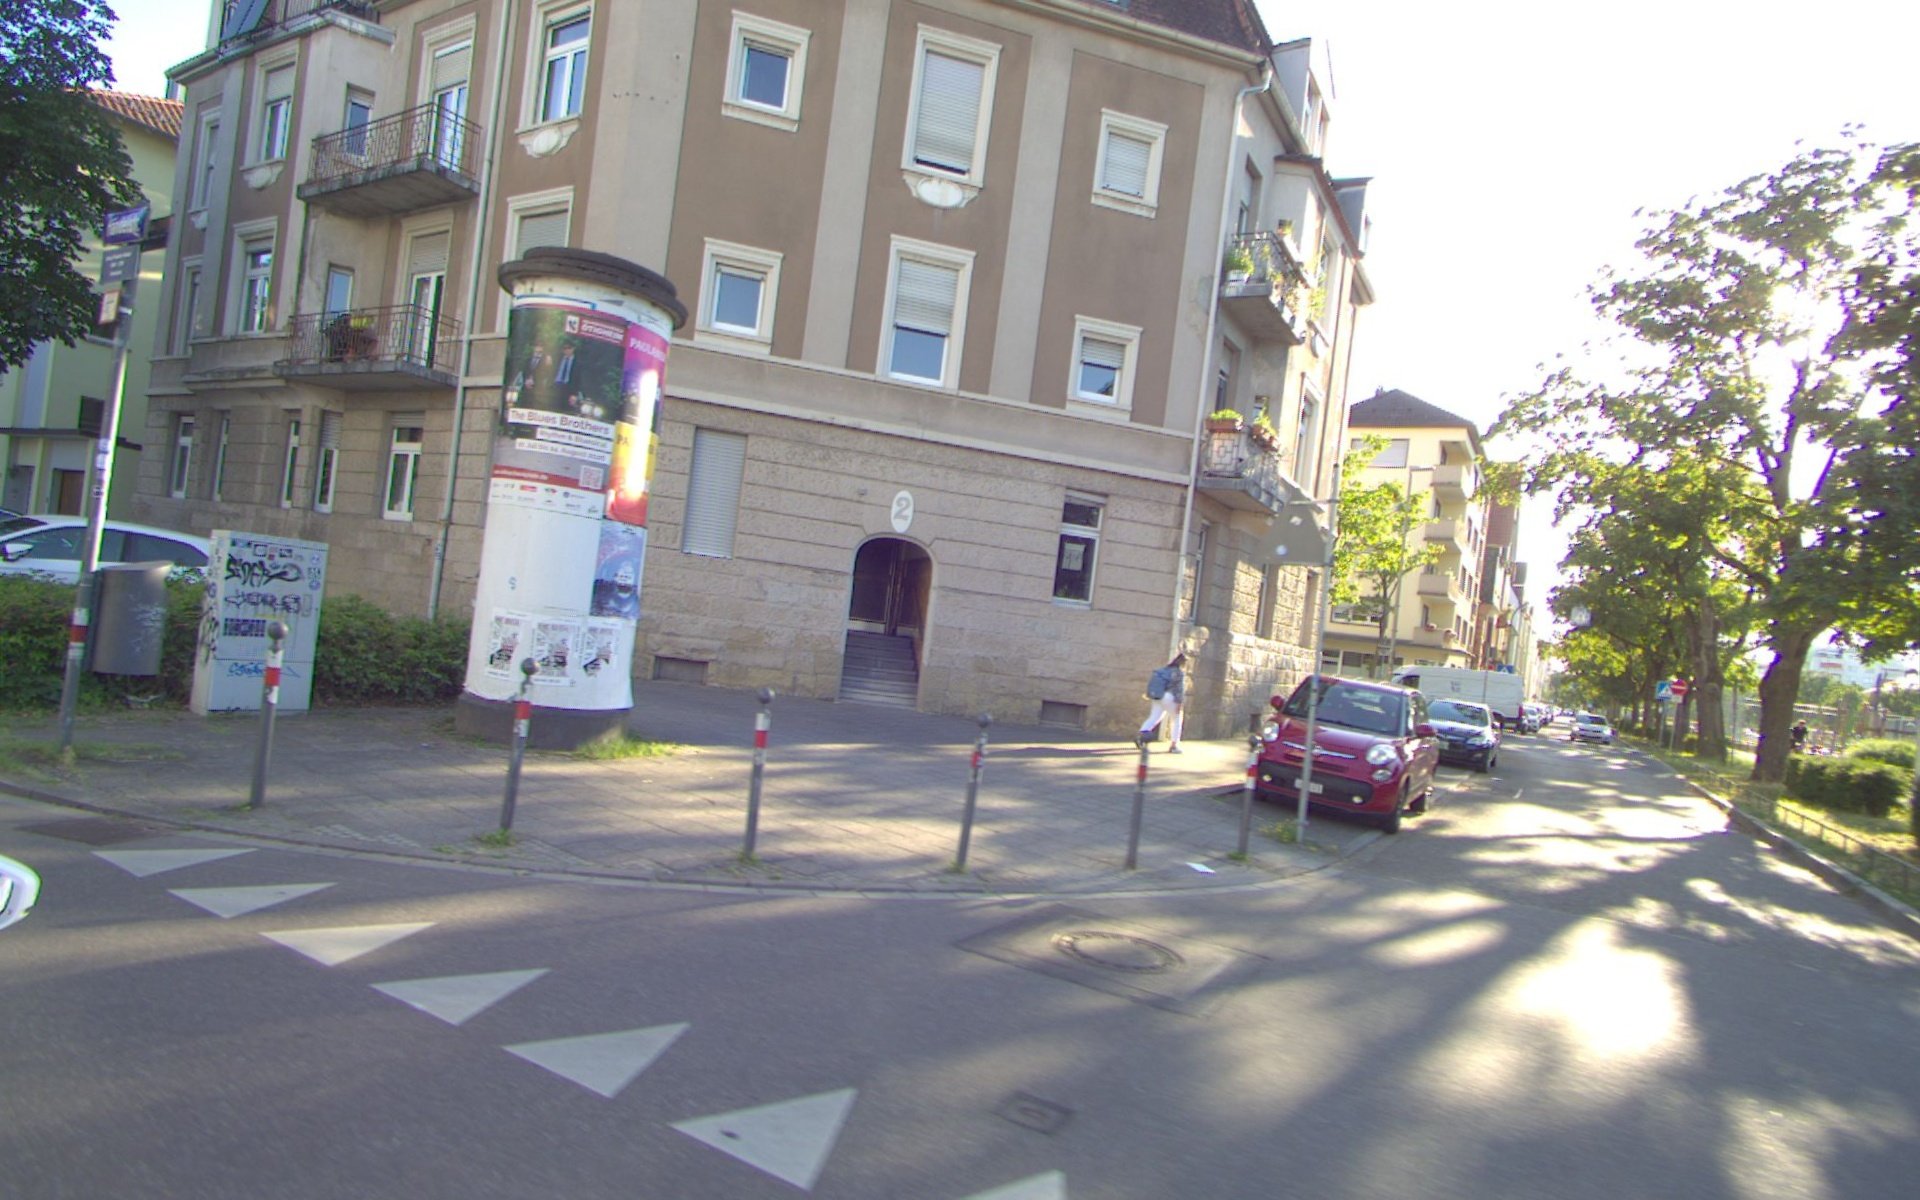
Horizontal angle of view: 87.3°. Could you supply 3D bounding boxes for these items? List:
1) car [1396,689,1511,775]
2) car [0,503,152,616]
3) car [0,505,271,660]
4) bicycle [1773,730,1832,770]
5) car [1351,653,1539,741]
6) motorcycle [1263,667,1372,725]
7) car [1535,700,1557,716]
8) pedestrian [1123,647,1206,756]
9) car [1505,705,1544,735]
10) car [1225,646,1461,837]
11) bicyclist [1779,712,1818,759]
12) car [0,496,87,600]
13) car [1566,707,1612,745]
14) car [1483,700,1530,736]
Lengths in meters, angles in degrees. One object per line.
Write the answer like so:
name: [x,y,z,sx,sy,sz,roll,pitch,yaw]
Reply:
car: [11.559,3.037,23.440,1.782,1.551,4.080,7,-1,33]
car: [-14.131,-0.706,13.967,1.645,1.465,4.149,6,-1,31]
car: [-10.464,-0.258,11.261,1.831,1.523,4.055,6,-1,31]
bicycle: [32.736,5.804,39.131,0.872,1.235,3.108,7,-2,25]
car: [20.515,4.077,42.780,6.563,2.777,2.320,7,-1,3]
motorcycle: [11.624,3.112,32.770,3.171,1.504,0.854,5,-2,21]
car: [69.949,12.883,120.051,1.802,1.534,3.745,6,-2,35]
pedestrian: [3.153,1.568,15.547,0.815,1.564,0.734,7,0,-40]
car: [34.597,7.351,61.603,1.800,1.534,3.749,6,-2,32]
car: [4.999,1.707,12.752,1.782,1.761,4.080,9,-1,33]
bicyclist: [33.022,5.324,39.634,0.846,1.667,0.864,7,-1,26]
car: [-16.508,-1.022,15.235,1.919,1.544,4.487,8,0,26]
car: [32.913,6.564,52.740,1.752,1.659,3.737,6,-2,30]
car: [28.592,6.160,52.585,1.800,1.534,3.749,6,-2,32]
